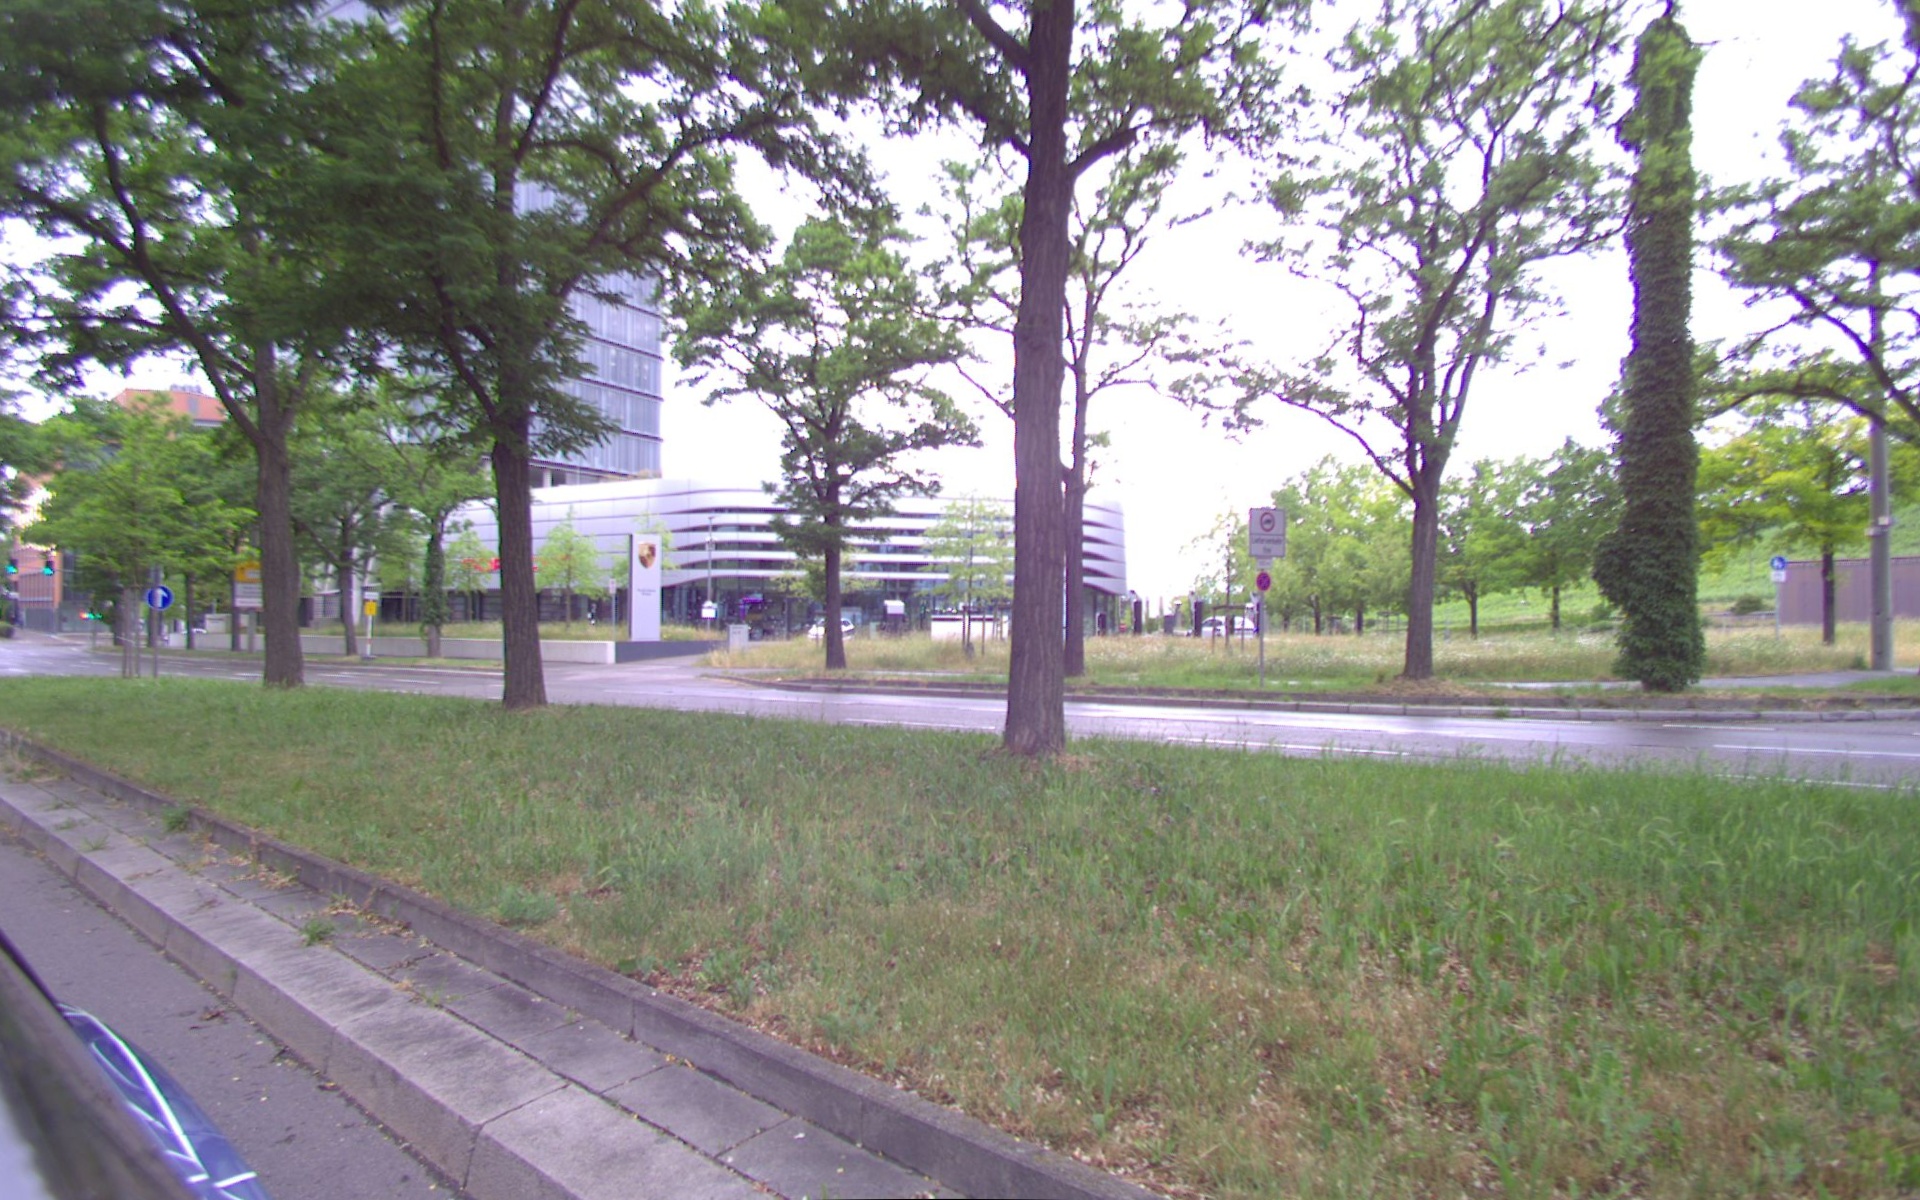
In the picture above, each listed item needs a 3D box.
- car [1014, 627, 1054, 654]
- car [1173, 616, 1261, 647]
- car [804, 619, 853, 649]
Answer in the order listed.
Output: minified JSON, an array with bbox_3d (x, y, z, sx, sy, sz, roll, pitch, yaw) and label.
[{"bbox_3d":[4.351,2.332,59.145,1.605,1.334,3.981,-1,1,15],"label":"car"},{"bbox_3d":[11.847,1.439,46.831,1.592,1.254,4.012,-2,1,-30],"label":"car"},{"bbox_3d":[-7.302,1.863,56.349,1.757,1.423,3.992,-1,1,7],"label":"car"}]
